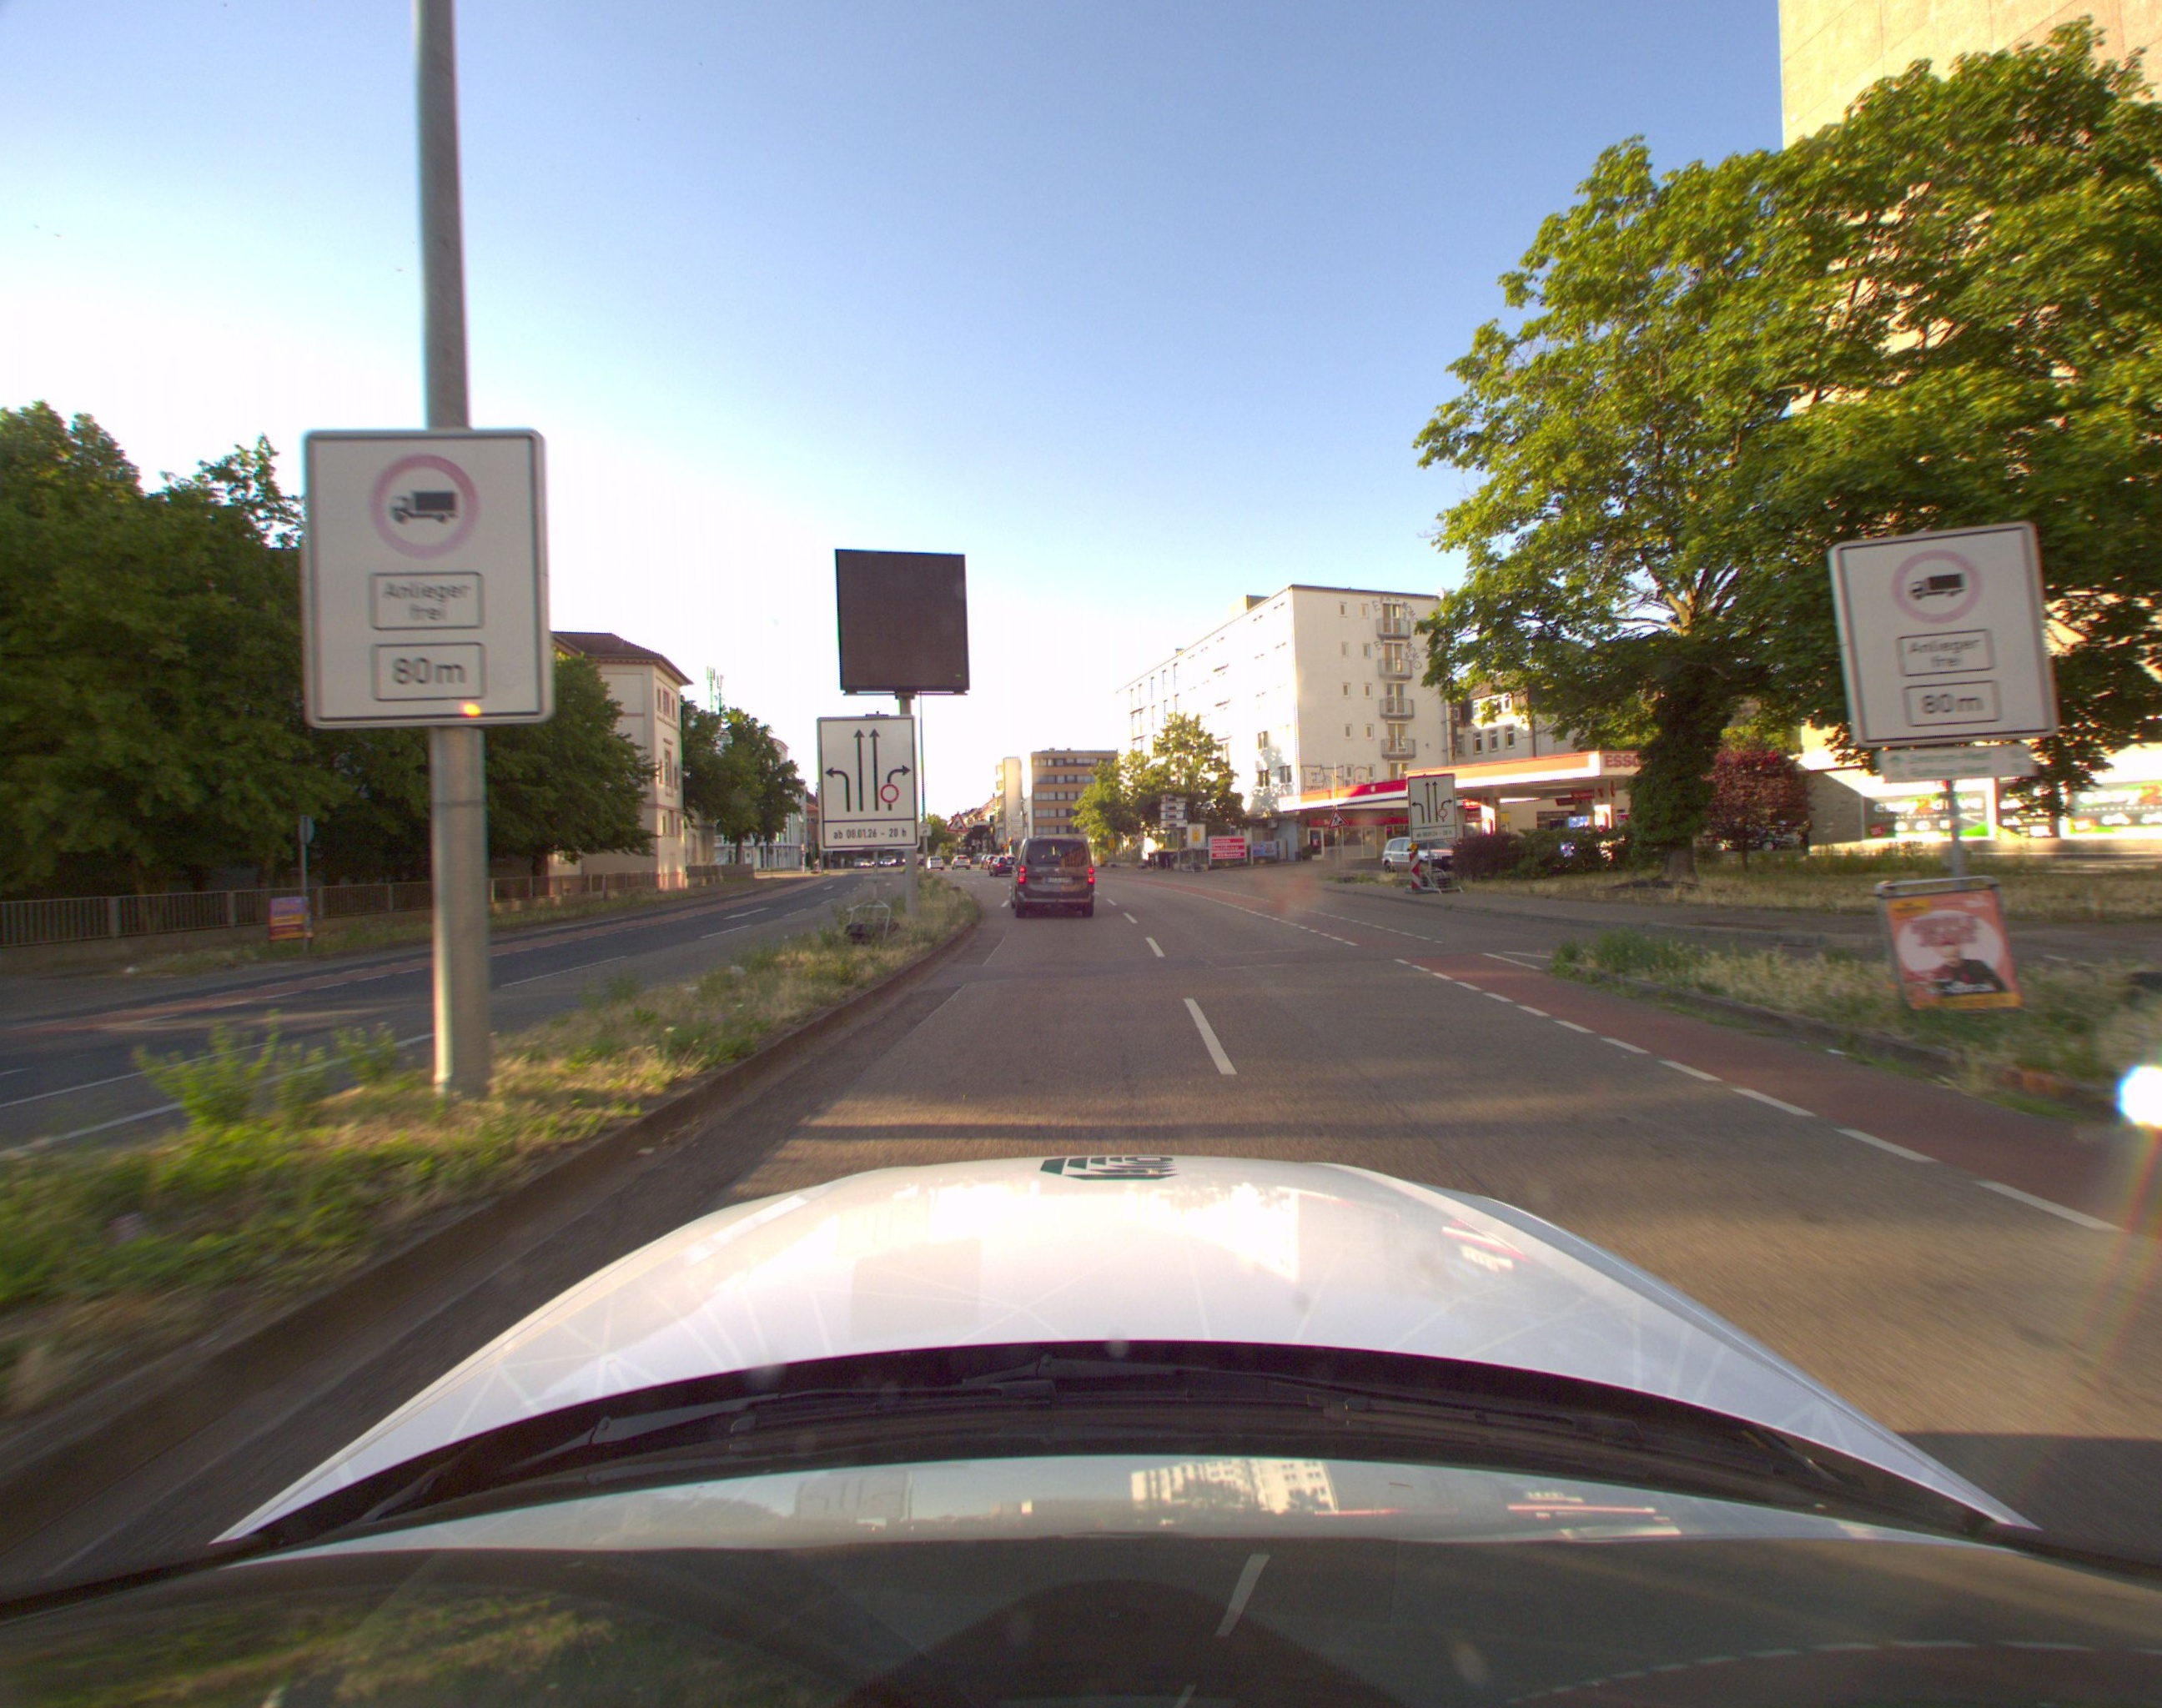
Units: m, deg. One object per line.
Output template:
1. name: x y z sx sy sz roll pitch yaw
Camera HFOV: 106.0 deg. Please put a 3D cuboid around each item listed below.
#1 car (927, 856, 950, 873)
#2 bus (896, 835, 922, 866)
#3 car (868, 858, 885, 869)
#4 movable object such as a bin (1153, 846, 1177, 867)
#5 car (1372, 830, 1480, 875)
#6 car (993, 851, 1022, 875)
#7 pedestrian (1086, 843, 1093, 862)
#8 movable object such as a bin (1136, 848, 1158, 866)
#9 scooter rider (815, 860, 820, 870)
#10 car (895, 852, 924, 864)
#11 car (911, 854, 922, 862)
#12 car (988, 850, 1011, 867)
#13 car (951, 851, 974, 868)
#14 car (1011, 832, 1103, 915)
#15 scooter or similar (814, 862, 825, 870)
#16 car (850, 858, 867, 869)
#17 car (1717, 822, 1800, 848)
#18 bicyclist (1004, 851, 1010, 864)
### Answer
1. car: -15.294 1.089 87.095 1.997 1.656 4.277 -2 0 -15
2. bus: -26.947 -0.576 127.150 3.296 4.617 9.947 -1 0 -15
3. car: -33.141 1.534 132.102 1.991 1.595 3.992 -2 0 -5
4. movable object such as a bin: 6.358 0.182 61.740 1.460 1.454 1.545 -2 0 -4
5. car: 13.096 -0.061 31.226 1.771 1.530 4.340 -2 0 -8
6. car: -5.031 0.605 55.878 1.843 1.544 3.624 -2 0 -6
7. pedestrian: 0.901 -0.183 87.372 0.491 2.013 0.661 -2 0 -14
8. movable object such as a bin: 5.248 0.234 65.018 1.460 1.386 1.545 -2 0 -4
9. scooter rider: -29.709 1.238 91.706 0.511 1.036 0.443 0 0 -23
10. car: -25.862 0.581 122.559 4.000 1.595 1.987 -2 0 -20
11. car: -35.471 0.820 175.735 1.853 1.708 3.704 -2 0 -17
12. car: -8.453 0.471 84.192 1.994 1.656 4.283 -2 0 -11
13. car: -12.855 0.594 88.294 1.997 1.656 4.277 -2 0 -15
14. car: -0.727 0.429 20.803 1.992 1.900 4.289 0 0 -7
15. scooter or similar: -29.494 1.345 91.788 1.103 0.976 0.555 -1 0 -23
16. car: -35.818 1.481 131.286 1.991 1.595 3.992 -2 0 -5
17. car: 39.456 -1.093 47.516 1.572 1.381 3.421 -2 1 -14
18. bicyclist: -8.314 0.352 91.503 0.541 1.459 0.639 -2 0 -12
